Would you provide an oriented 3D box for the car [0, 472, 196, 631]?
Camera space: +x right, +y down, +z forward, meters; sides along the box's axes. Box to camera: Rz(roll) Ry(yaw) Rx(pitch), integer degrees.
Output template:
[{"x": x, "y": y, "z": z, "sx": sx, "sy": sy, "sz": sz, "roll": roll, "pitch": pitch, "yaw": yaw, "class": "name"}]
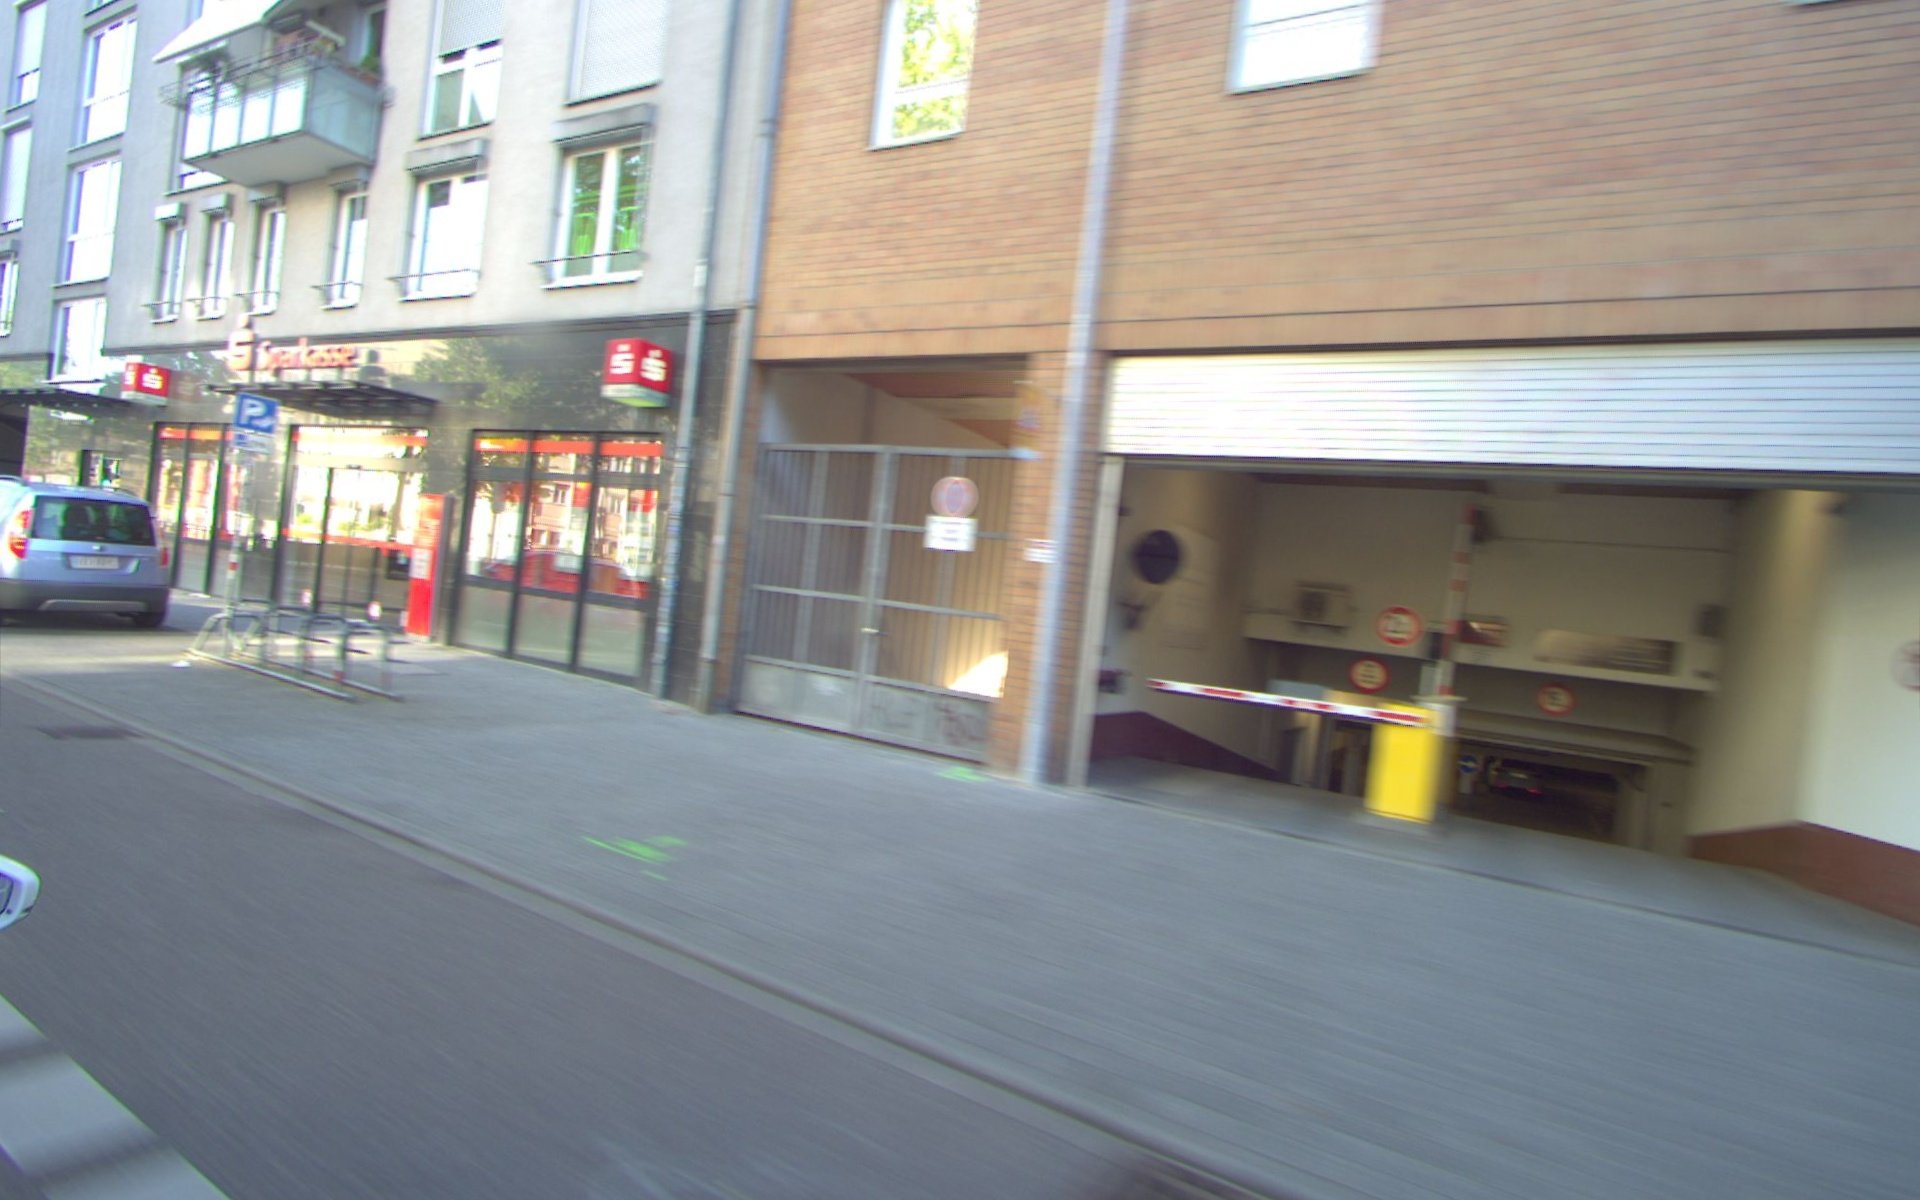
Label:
[{"x": -11.300, "y": -0.658, "z": 12.164, "sx": 4.213, "sy": 1.644, "sz": 1.833, "roll": 6, "pitch": 2, "yaw": 31, "class": "car"}]
